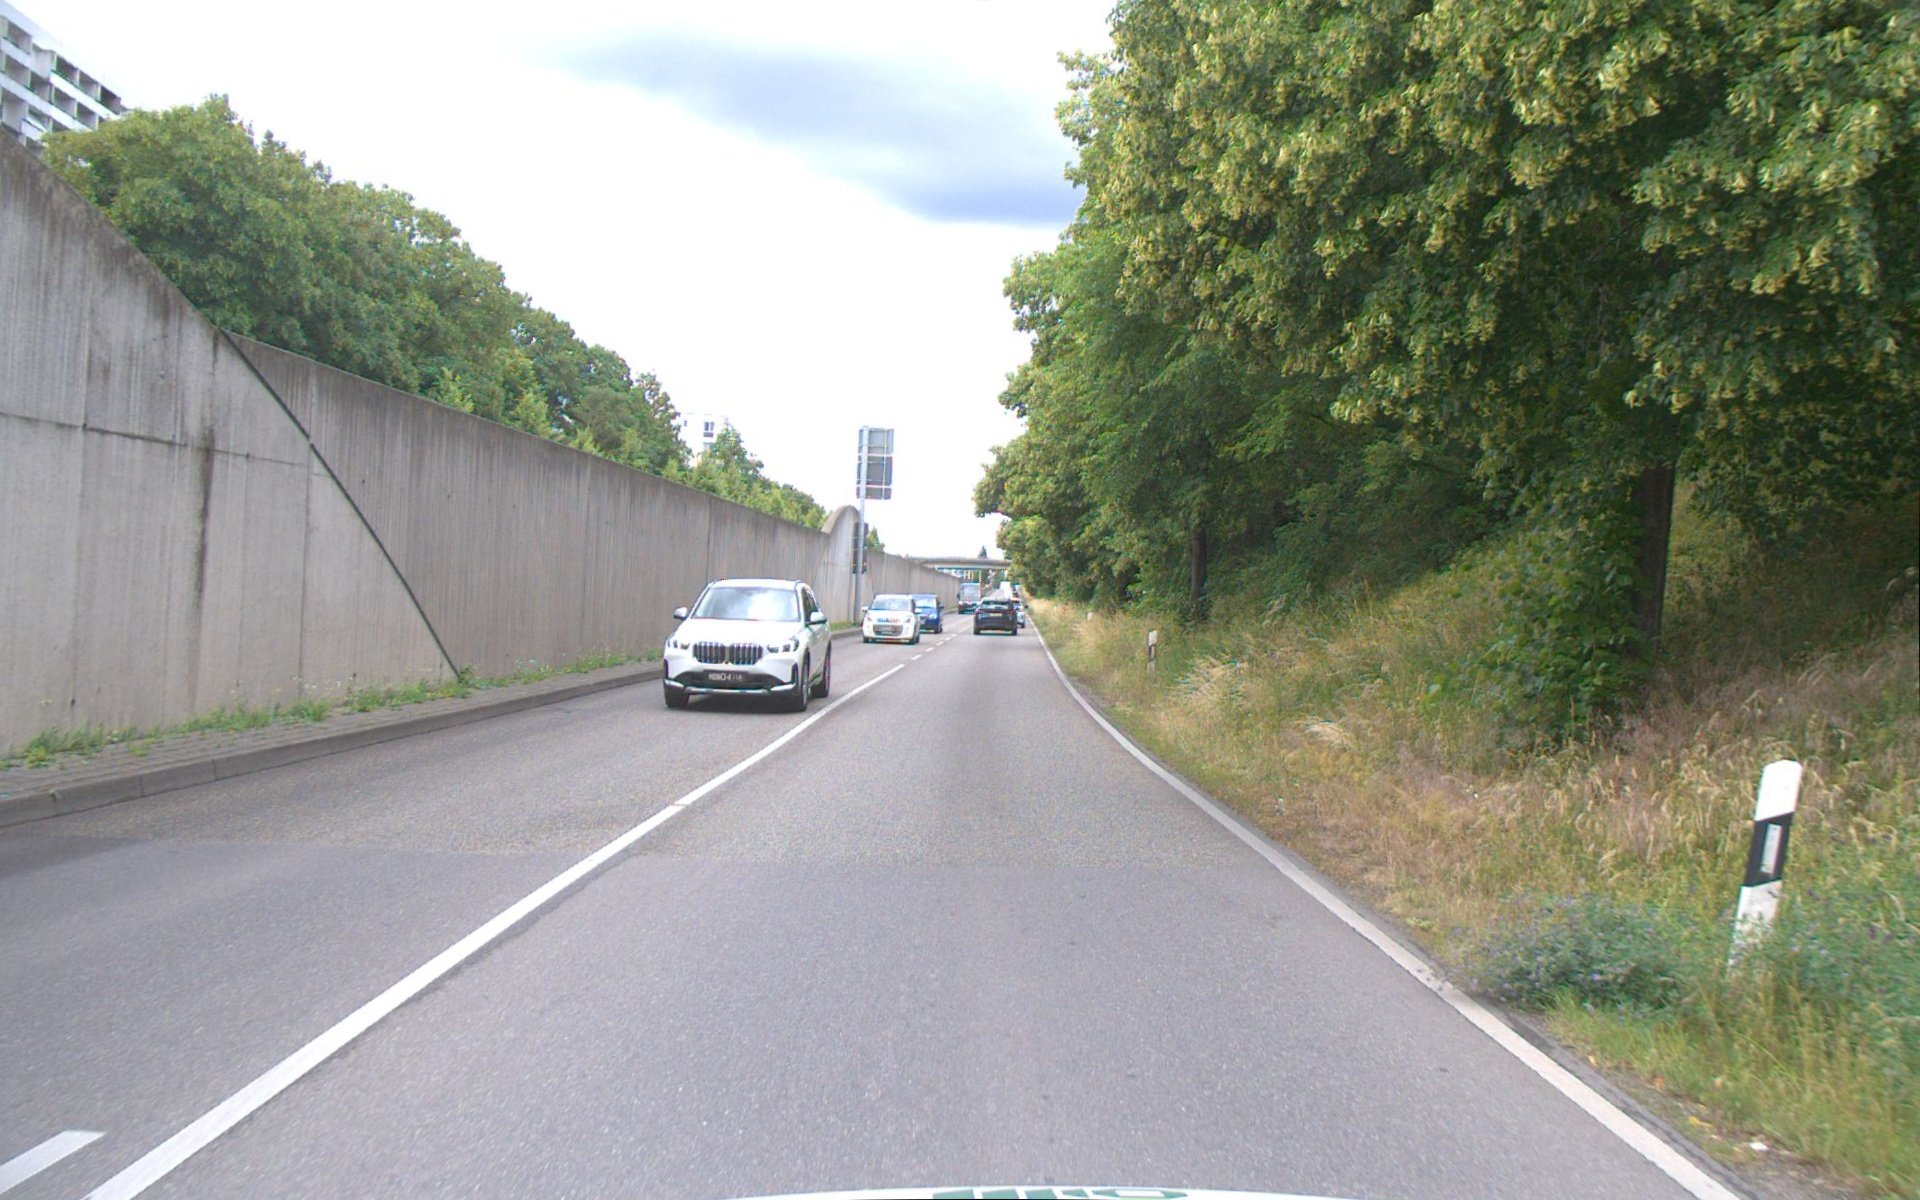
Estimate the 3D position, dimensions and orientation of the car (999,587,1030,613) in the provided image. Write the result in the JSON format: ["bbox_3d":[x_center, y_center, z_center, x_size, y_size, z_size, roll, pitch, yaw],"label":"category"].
[{"bbox_3d":[3.535,0.006,108.284,1.829,1.515,4.257,5,0,0],"label":"car"}]

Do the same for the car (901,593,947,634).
[{"bbox_3d":[-1.416,0.512,66.521,1.731,1.521,4.208,2,0,-1],"label":"car"}]

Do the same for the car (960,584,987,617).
[{"bbox_3d":[1.209,0.023,142.794,2.066,2.676,7.419,1,0,2],"label":"car"}]

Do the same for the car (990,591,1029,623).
[{"bbox_3d":[2.490,0.376,83.909,1.719,1.550,4.034,0,-1,-2],"label":"car"}]

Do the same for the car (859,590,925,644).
[{"bbox_3d":[-2.087,0.500,51.587,1.876,1.521,4.208,2,0,-1],"label":"car"}]

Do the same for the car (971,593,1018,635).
[{"bbox_3d":[1.356,0.577,66.707,1.718,1.550,4.035,2,-2,-1],"label":"car"}]

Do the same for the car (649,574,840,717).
[{"bbox_3d":[-2.772,0.536,22.244,1.851,1.660,4.427,2,0,1],"label":"car"}]
